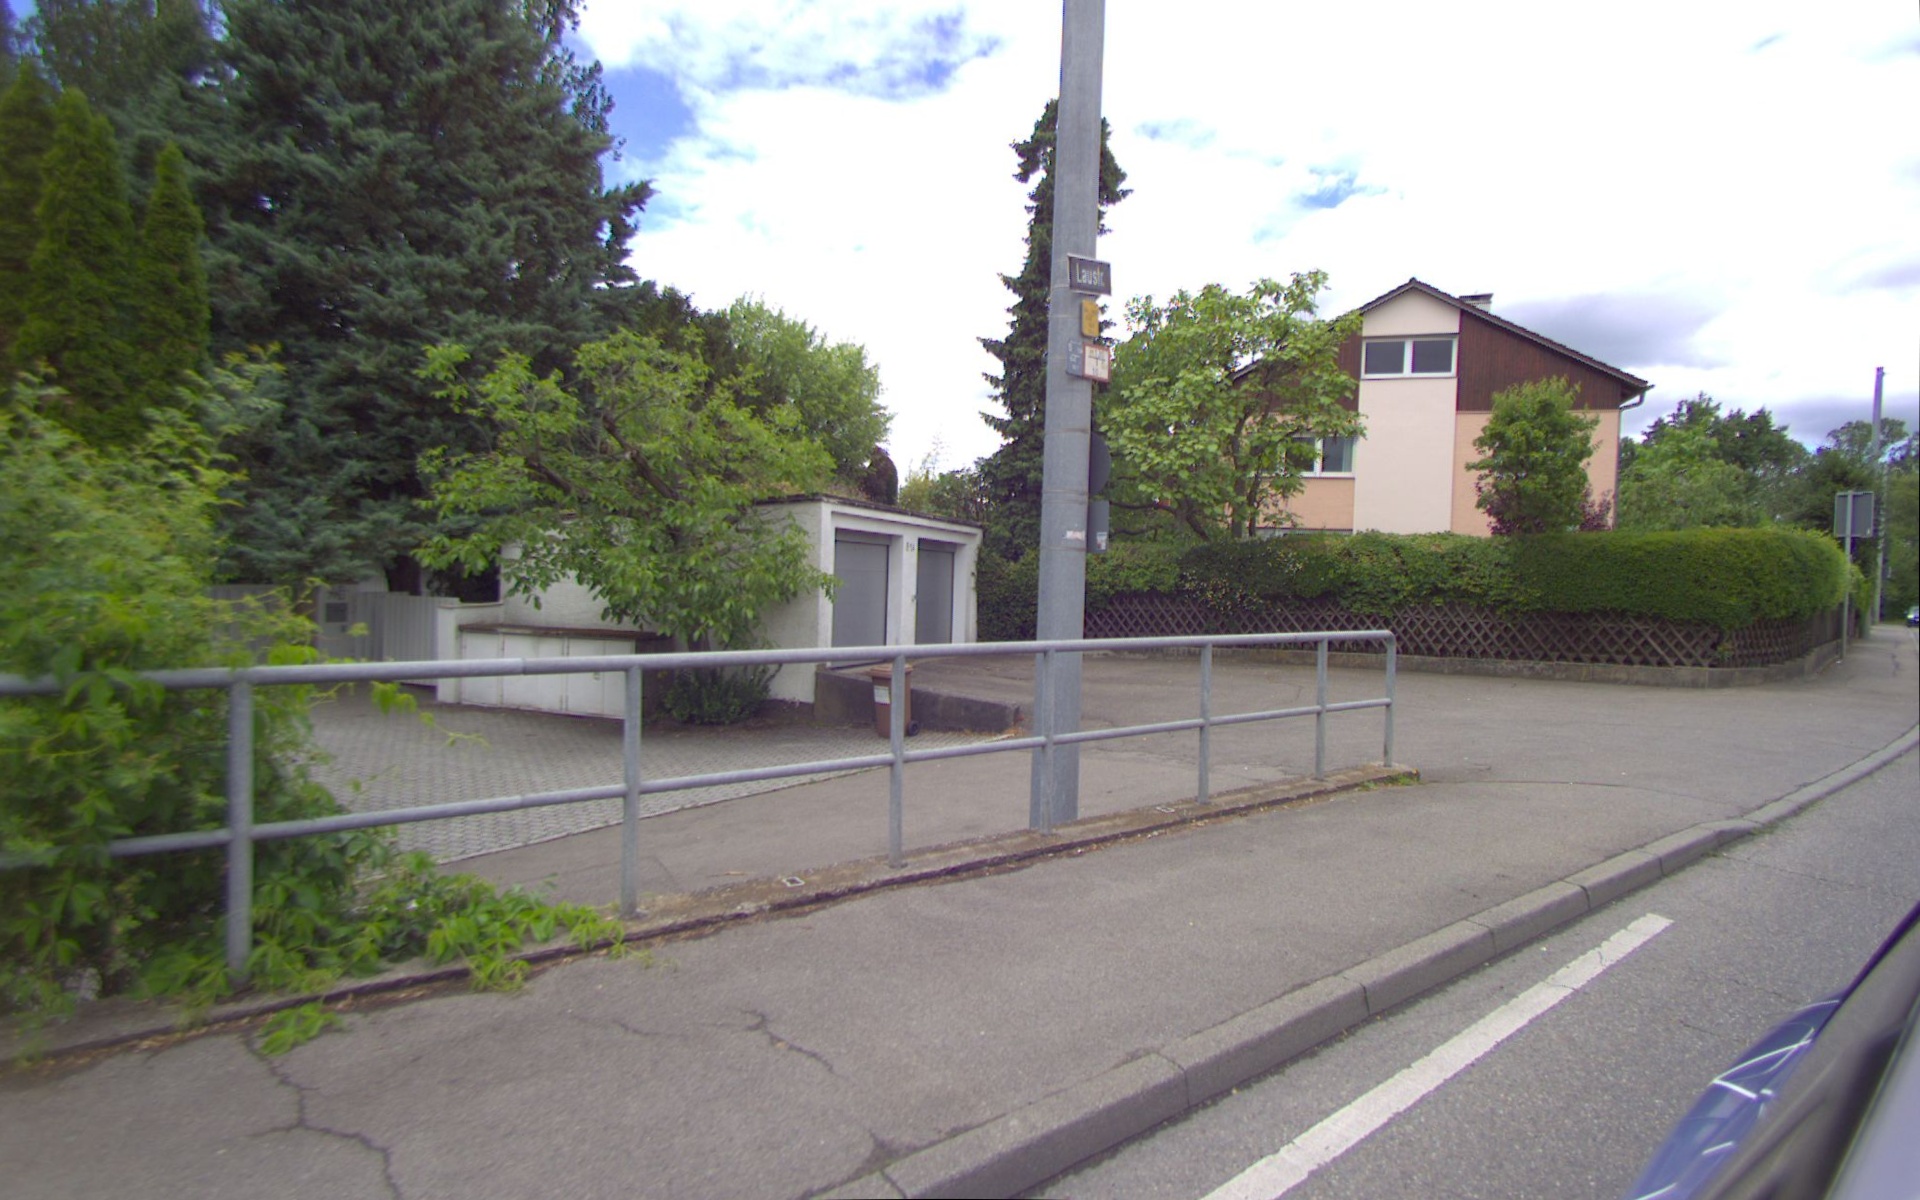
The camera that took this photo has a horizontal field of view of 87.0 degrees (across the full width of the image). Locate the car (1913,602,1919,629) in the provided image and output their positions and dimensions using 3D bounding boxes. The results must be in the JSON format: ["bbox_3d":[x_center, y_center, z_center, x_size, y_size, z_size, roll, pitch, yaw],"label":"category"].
[{"bbox_3d":[70.182,1.186,72.865,1.856,1.889,4.544,3,1,40],"label":"car"}]

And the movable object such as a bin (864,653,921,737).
[{"bbox_3d":[-0.870,1.213,13.063,0.534,0.986,0.505,-1,3,24],"label":"movable object such as a bin"}]
